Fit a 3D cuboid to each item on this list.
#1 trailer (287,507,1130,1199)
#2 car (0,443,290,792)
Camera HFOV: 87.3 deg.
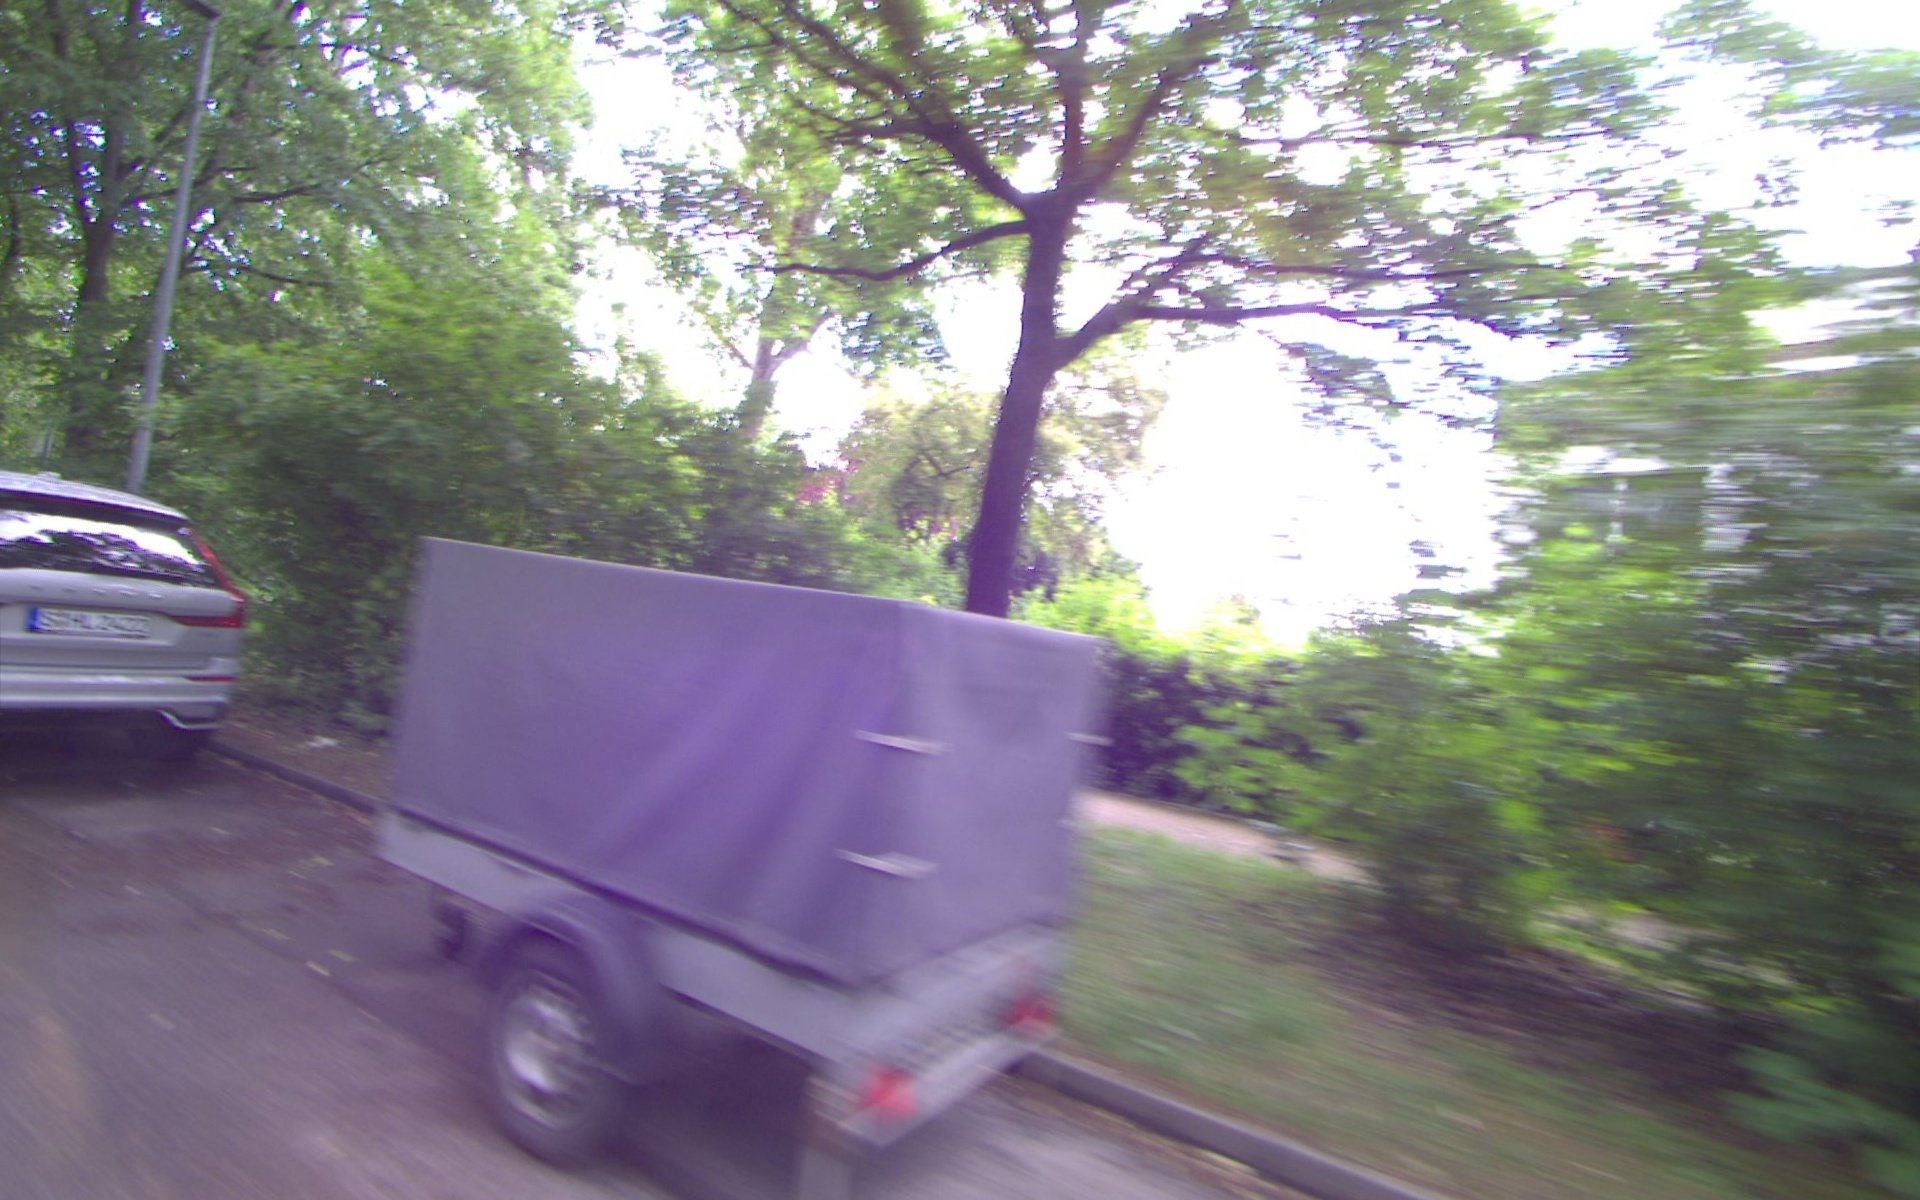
[{"bbox_3d":[-0.889,0.663,3.425,2.419,1.603,1.281,7,-2,32],"label":"trailer"},{"bbox_3d":[-6.463,-0.062,6.222,4.423,1.689,1.797,6,-2,27],"label":"car"}]
